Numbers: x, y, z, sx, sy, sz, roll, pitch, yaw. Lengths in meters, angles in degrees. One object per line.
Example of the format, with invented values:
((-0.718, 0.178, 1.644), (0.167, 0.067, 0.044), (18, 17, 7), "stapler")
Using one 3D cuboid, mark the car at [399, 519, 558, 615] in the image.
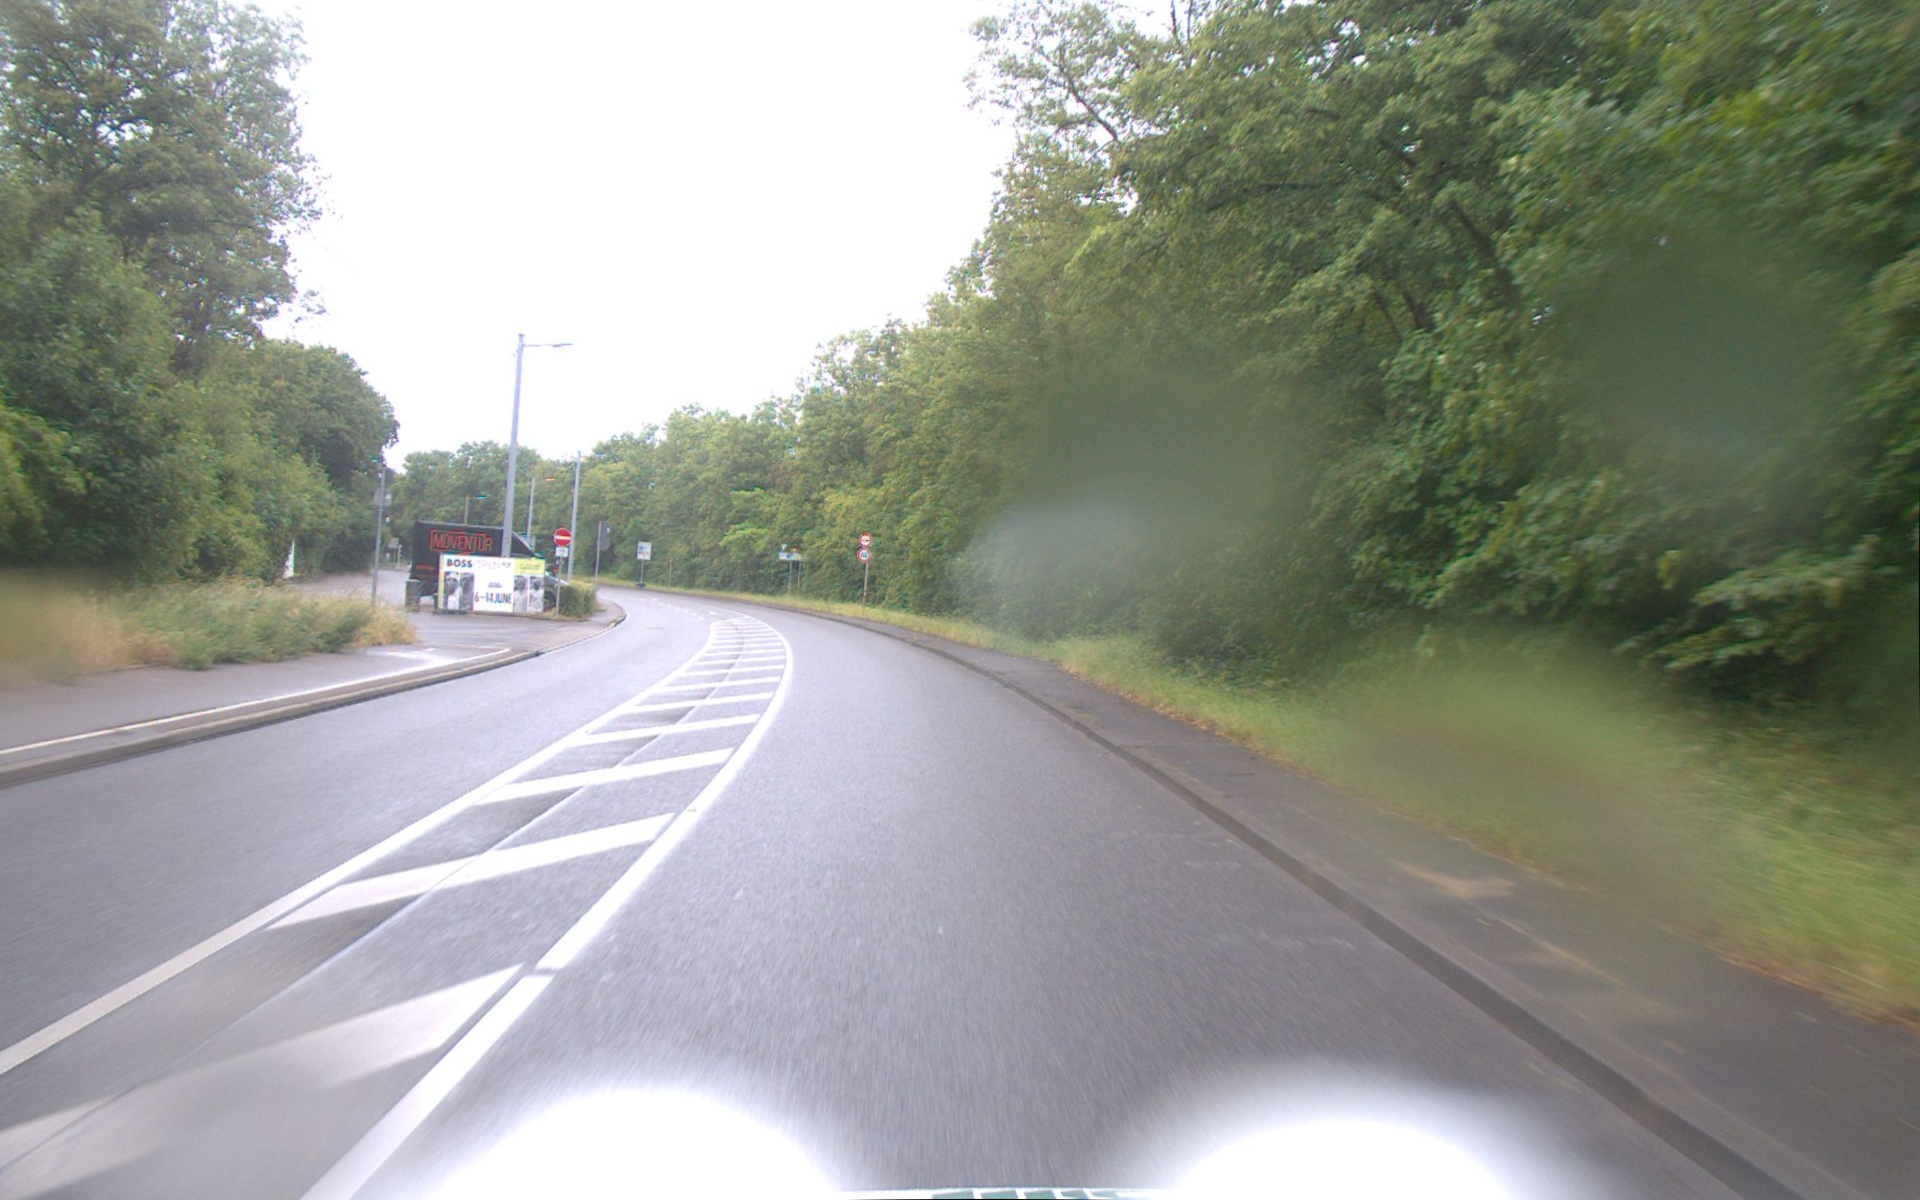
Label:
((-18.911, -1.267, 65.219), (5.850, 3.563, 1.992), (1, 0, -16), "car")
